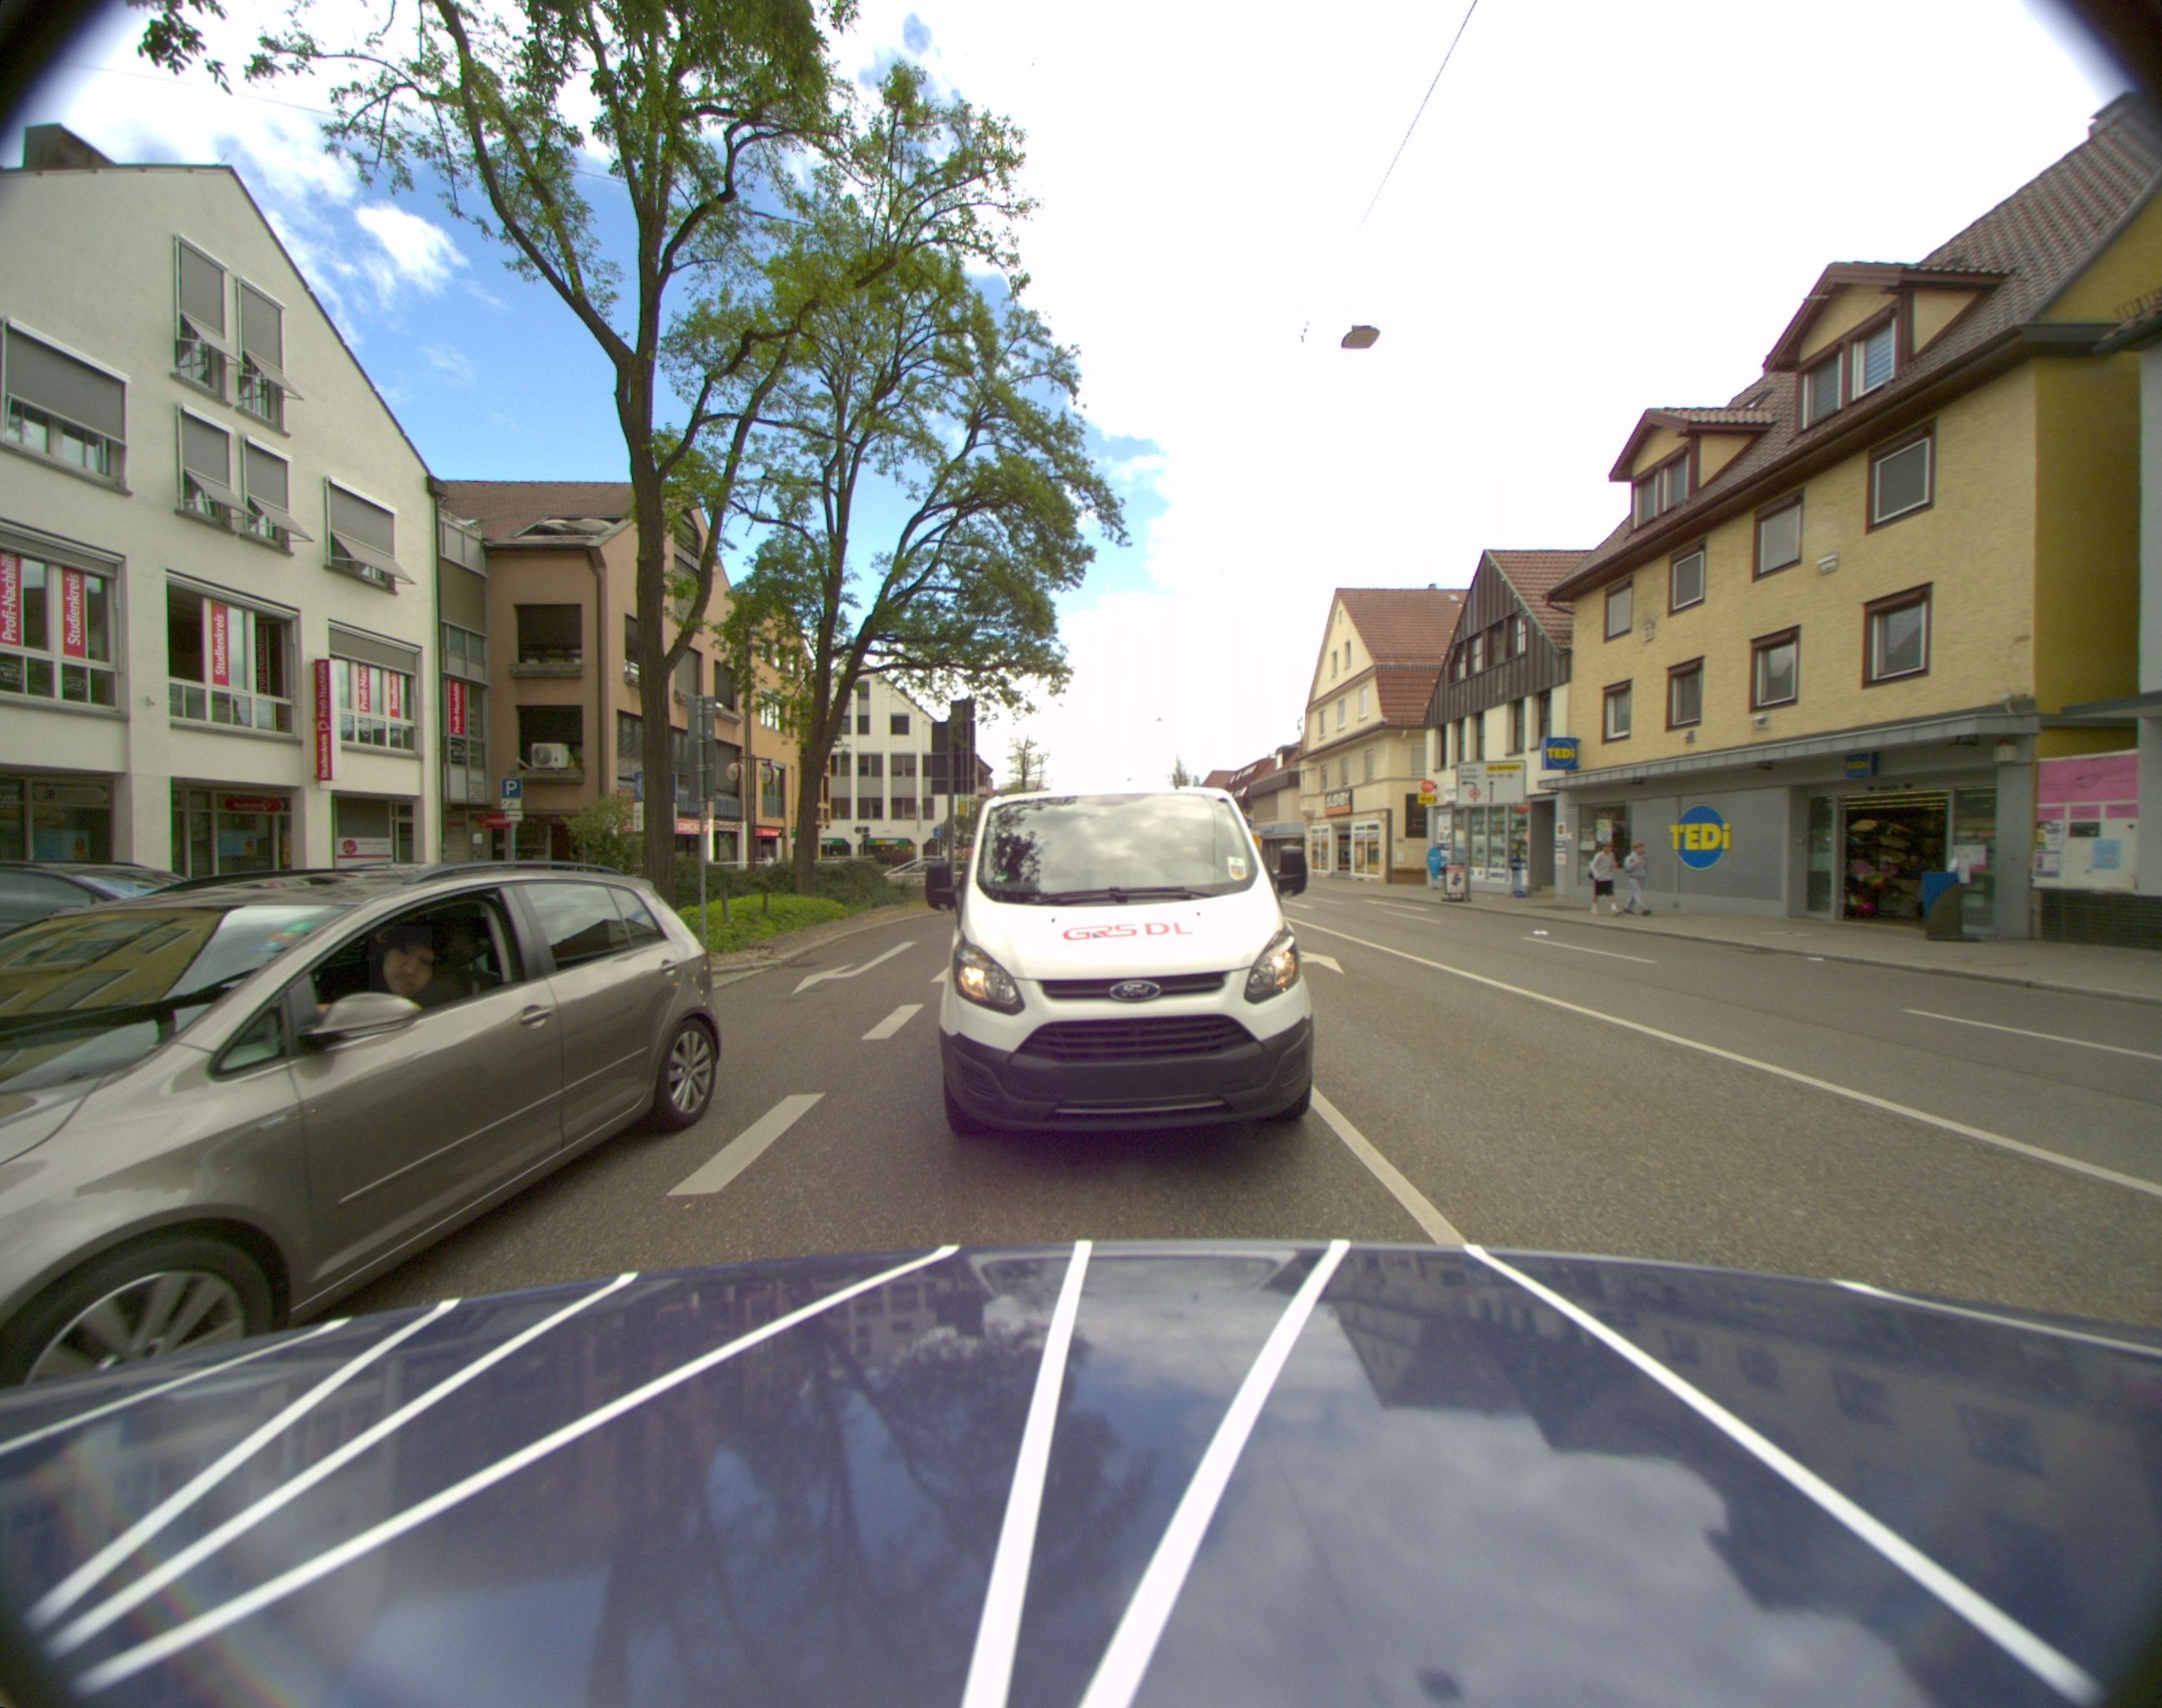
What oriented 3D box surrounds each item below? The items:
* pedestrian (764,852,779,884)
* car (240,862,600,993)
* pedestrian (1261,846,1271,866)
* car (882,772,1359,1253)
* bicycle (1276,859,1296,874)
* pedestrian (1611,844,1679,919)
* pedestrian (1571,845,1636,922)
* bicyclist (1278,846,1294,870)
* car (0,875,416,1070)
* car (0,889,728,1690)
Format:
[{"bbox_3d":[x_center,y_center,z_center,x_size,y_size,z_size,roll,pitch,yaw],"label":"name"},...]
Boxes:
[{"bbox_3d":[-15.830,0.708,38.891,0.493,1.615,0.504,0,1,6],"label":"pedestrian"},{"bbox_3d":[-10.454,1.033,12.686,1.999,1.645,4.752,1,1,-3],"label":"car"},{"bbox_3d":[16.977,0.185,69.746,0.673,1.891,0.678,0,1,1],"label":"pedestrian"},{"bbox_3d":[0.209,0.662,6.106,1.940,1.968,5.779,-2,0,1],"label":"car"},{"bbox_3d":[12.082,0.733,44.865,0.773,0.818,2.241,0,0,5],"label":"bicycle"},{"bbox_3d":[12.326,0.581,16.628,0.812,1.574,0.920,-1,1,1],"label":"pedestrian"},{"bbox_3d":[11.484,0.630,16.743,0.812,1.651,0.920,-1,1,1],"label":"pedestrian"},{"bbox_3d":[12.088,0.249,44.863,0.773,1.415,0.752,0,1,5],"label":"bicyclist"},{"bbox_3d":[-10.037,1.069,7.542,4.759,1.669,1.996,1,0,-22],"label":"car"},{"bbox_3d":[-3.176,1.024,2.770,1.801,1.521,4.000,-2,0,1],"label":"car"}]
